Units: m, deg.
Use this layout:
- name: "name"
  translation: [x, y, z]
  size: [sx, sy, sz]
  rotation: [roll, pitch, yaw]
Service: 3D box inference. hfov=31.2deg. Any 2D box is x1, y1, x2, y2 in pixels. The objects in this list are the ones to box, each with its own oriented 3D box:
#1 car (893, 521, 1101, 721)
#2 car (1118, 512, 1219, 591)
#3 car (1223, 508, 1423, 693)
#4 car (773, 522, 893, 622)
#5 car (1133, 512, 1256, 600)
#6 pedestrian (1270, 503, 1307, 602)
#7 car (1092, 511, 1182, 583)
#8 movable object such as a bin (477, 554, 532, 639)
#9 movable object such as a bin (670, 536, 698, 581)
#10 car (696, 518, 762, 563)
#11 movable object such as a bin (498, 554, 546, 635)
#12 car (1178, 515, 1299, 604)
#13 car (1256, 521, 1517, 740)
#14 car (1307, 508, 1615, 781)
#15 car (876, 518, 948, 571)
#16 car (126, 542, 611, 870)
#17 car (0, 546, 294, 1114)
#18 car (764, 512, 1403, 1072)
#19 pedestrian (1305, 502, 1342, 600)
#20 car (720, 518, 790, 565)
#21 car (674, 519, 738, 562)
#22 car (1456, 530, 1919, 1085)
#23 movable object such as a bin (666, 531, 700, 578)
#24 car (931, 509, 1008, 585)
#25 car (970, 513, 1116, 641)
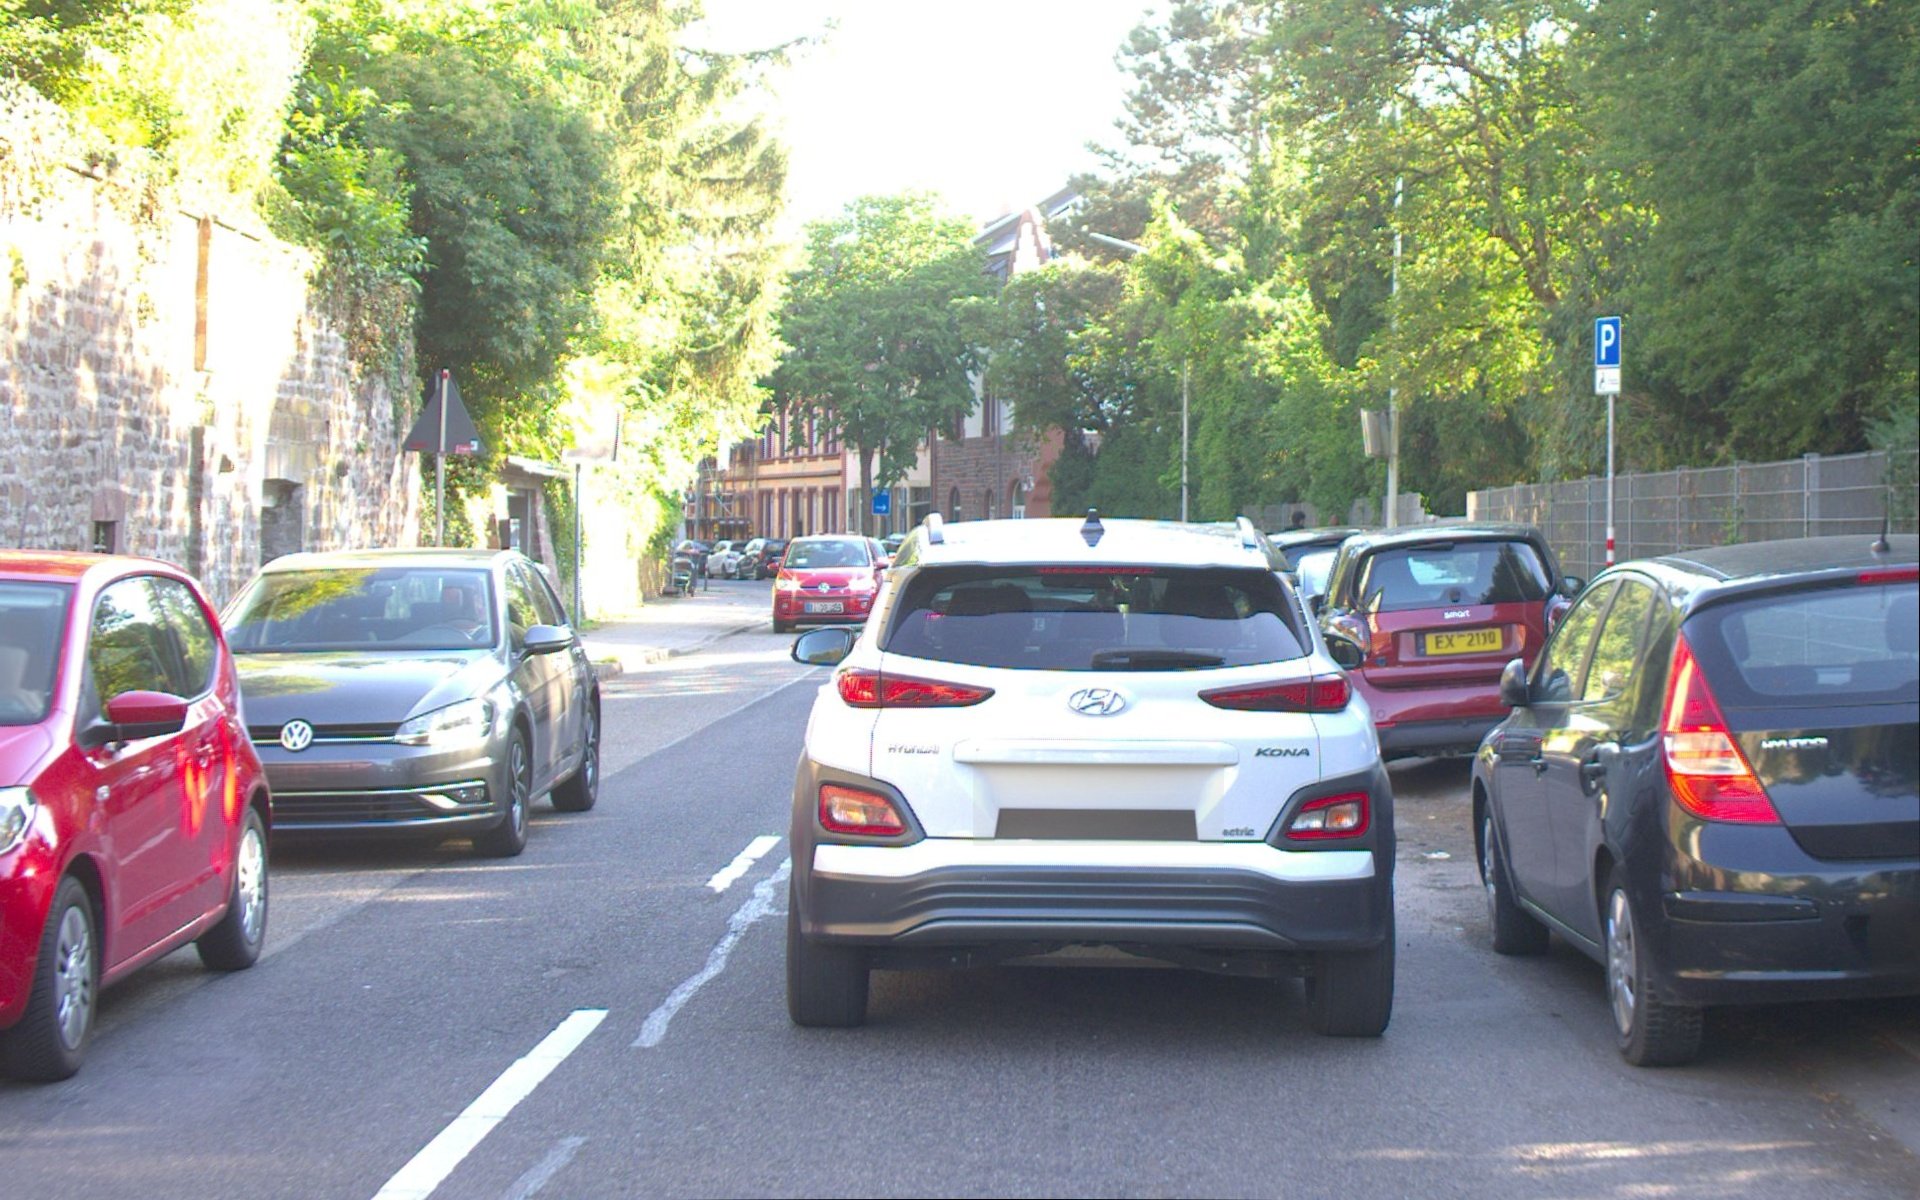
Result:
- name: "car"
  translation: [0.360, 0.126, 28.640]
  size: [1.512, 1.527, 3.547]
  rotation: [0, 2, 4]
- name: "car"
  translation: [4.237, -0.999, 70.318]
  size: [1.593, 1.514, 3.933]
  rotation: [-3, 1, -2]
- name: "car"
  translation: [3.254, -0.034, 31.240]
  size: [1.625, 1.504, 2.903]
  rotation: [-2, 2, 4]
- name: "car"
  translation: [-1.949, -0.459, 53.613]
  size: [1.550, 1.461, 3.568]
  rotation: [-2, 1, 2]
- name: "car"
  translation: [4.423, -0.838, 65.286]
  size: [1.593, 1.560, 4.001]
  rotation: [-2, 1, -6]
- name: "pedestrian"
  translation: [5.361, -0.776, 56.098]
  size: [0.503, 1.601, 0.491]
  rotation: [-2, 1, 2]
- name: "car"
  translation: [3.894, -1.185, 76.275]
  size: [1.593, 1.484, 3.603]
  rotation: [-3, 2, -2]
- name: "movable object such as a bin"
  translation: [-5.390, -0.046, 40.659]
  size: [0.573, 0.981, 0.438]
  rotation: [1, 1, 0]
- name: "movable object such as a bin"
  translation: [-6.253, -0.934, 78.013]
  size: [0.495, 1.008, 1.112]
  rotation: [1, 1, 2]
- name: "car"
  translation: [-8.829, -2.271, 131.192]
  size: [1.755, 1.611, 4.002]
  rotation: [1, 2, -15]
- name: "movable object such as a bin"
  translation: [-5.317, -0.066, 41.724]
  size: [0.490, 0.961, 0.583]
  rotation: [1, 1, 0]
- name: "car"
  translation: [4.821, -0.733, 59.955]
  size: [1.686, 1.426, 4.000]
  rotation: [-2, 1, -1]
- name: "car"
  translation: [3.217, 0.160, 26.697]
  size: [1.711, 1.492, 4.813]
  rotation: [2, 1, 4]
- name: "car"
  translation: [3.020, 0.218, 21.169]
  size: [1.653, 1.559, 2.872]
  rotation: [0, 1, 4]
- name: "car"
  translation: [-1.290, -1.484, 91.877]
  size: [1.589, 1.381, 3.362]
  rotation: [-1, 1, -7]
- name: "car"
  translation: [-2.814, 0.435, 17.155]
  size: [1.649, 1.406, 3.931]
  rotation: [-1, 1, 1]
- name: "car"
  translation: [-3.205, 0.569, 10.502]
  size: [1.627, 1.417, 3.563]
  rotation: [-1, 1, 0]
- name: "car"
  translation: [0.507, 0.489, 11.599]
  size: [1.772, 1.537, 3.999]
  rotation: [1, 1, 5]
- name: "pedestrian"
  translation: [5.920, -0.803, 56.052]
  size: [0.503, 1.563, 0.503]
  rotation: [-2, 1, 2]
- name: "car"
  translation: [-7.544, -2.175, 126.381]
  size: [1.755, 1.611, 4.002]
  rotation: [1, 2, -15]
- name: "car"
  translation: [-10.080, -2.370, 136.240]
  size: [1.755, 1.611, 4.002]
  rotation: [1, 2, -15]
- name: "car"
  translation: [2.741, 0.511, 11.095]
  size: [1.794, 1.436, 4.000]
  rotation: [0, 1, 2]
- name: "movable object such as a bin"
  translation: [-7.095, -1.169, 88.101]
  size: [0.792, 1.185, 0.773]
  rotation: [1, 1, 1]
- name: "car"
  translation: [0.186, -1.150, 73.954]
  size: [1.589, 1.577, 3.361]
  rotation: [0, 1, 0]
- name: "car"
  translation: [1.047, -0.317, 41.922]
  size: [1.571, 1.472, 3.547]
  rotation: [1, 1, 4]
